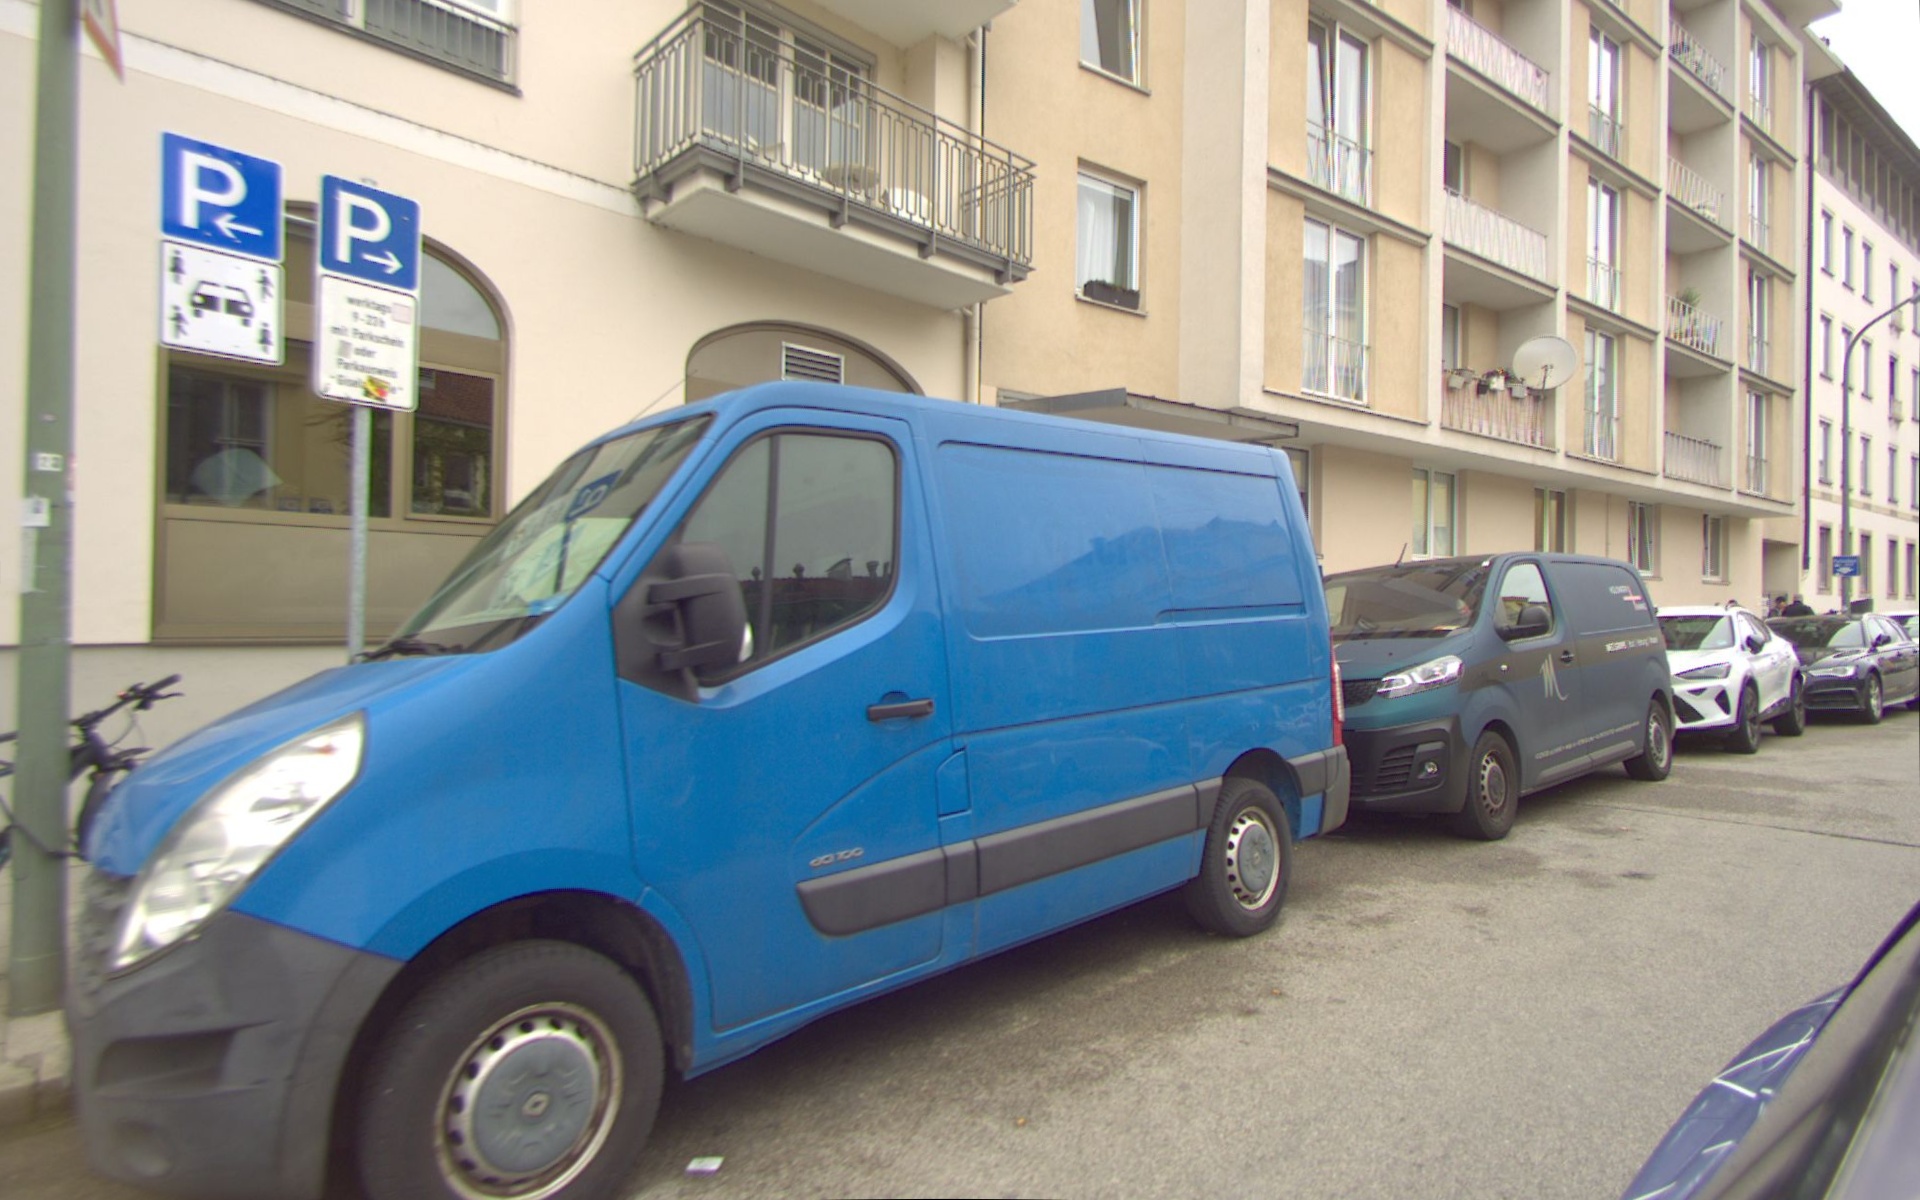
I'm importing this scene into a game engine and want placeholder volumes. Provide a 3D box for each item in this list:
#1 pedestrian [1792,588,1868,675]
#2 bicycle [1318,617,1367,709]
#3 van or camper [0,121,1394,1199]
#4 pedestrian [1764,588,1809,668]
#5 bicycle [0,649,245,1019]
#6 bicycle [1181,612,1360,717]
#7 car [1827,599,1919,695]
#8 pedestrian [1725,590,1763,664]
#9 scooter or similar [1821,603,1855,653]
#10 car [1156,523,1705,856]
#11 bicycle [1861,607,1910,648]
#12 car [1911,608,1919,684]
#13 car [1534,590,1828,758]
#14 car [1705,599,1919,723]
[{"bbox_3d":[17.787,0.624,20.692,1.295,1.709,0.900,1,1,-37],"label":"pedestrian"},{"bbox_3d":[5.245,0.834,13.918,0.527,1.147,1.400,2,0,18],"label":"bicycle"},{"bbox_3d":[-0.494,0.334,4.203,5.344,2.260,2.062,0,-3,-42],"label":"van or camper"},{"bbox_3d":[17.650,0.590,21.614,0.618,1.675,0.598,1,0,-35],"label":"pedestrian"},{"bbox_3d":[-3.571,0.820,3.581,0.663,1.203,1.568,0,0,37],"label":"bicycle"},{"bbox_3d":[3.985,0.763,12.908,2.166,1.201,1.149,1,0,-38],"label":"bicycle"},{"bbox_3d":[16.690,0.774,17.477,4.141,1.519,1.743,1,-3,-37],"label":"car"},{"bbox_3d":[17.471,0.588,22.552,0.549,1.605,0.533,1,0,-35],"label":"pedestrian"},{"bbox_3d":[24.346,0.770,28.063,1.022,1.267,0.599,-4,4,-44],"label":"scooter or similar"},{"bbox_3d":[3.890,0.537,7.933,4.847,1.840,1.967,0,-3,-40],"label":"car"},{"bbox_3d":[27.892,0.814,30.494,1.989,1.177,0.661,1,1,-36],"label":"bicycle"},{"bbox_3d":[20.563,0.869,20.011,4.399,1.439,1.800,1,-3,-37],"label":"car"},{"bbox_3d":[8.269,0.739,11.465,4.199,1.558,1.741,0,-4,-42],"label":"car"},{"bbox_3d":[12.545,0.784,14.439,4.410,1.519,1.744,0,-3,-35],"label":"car"}]
